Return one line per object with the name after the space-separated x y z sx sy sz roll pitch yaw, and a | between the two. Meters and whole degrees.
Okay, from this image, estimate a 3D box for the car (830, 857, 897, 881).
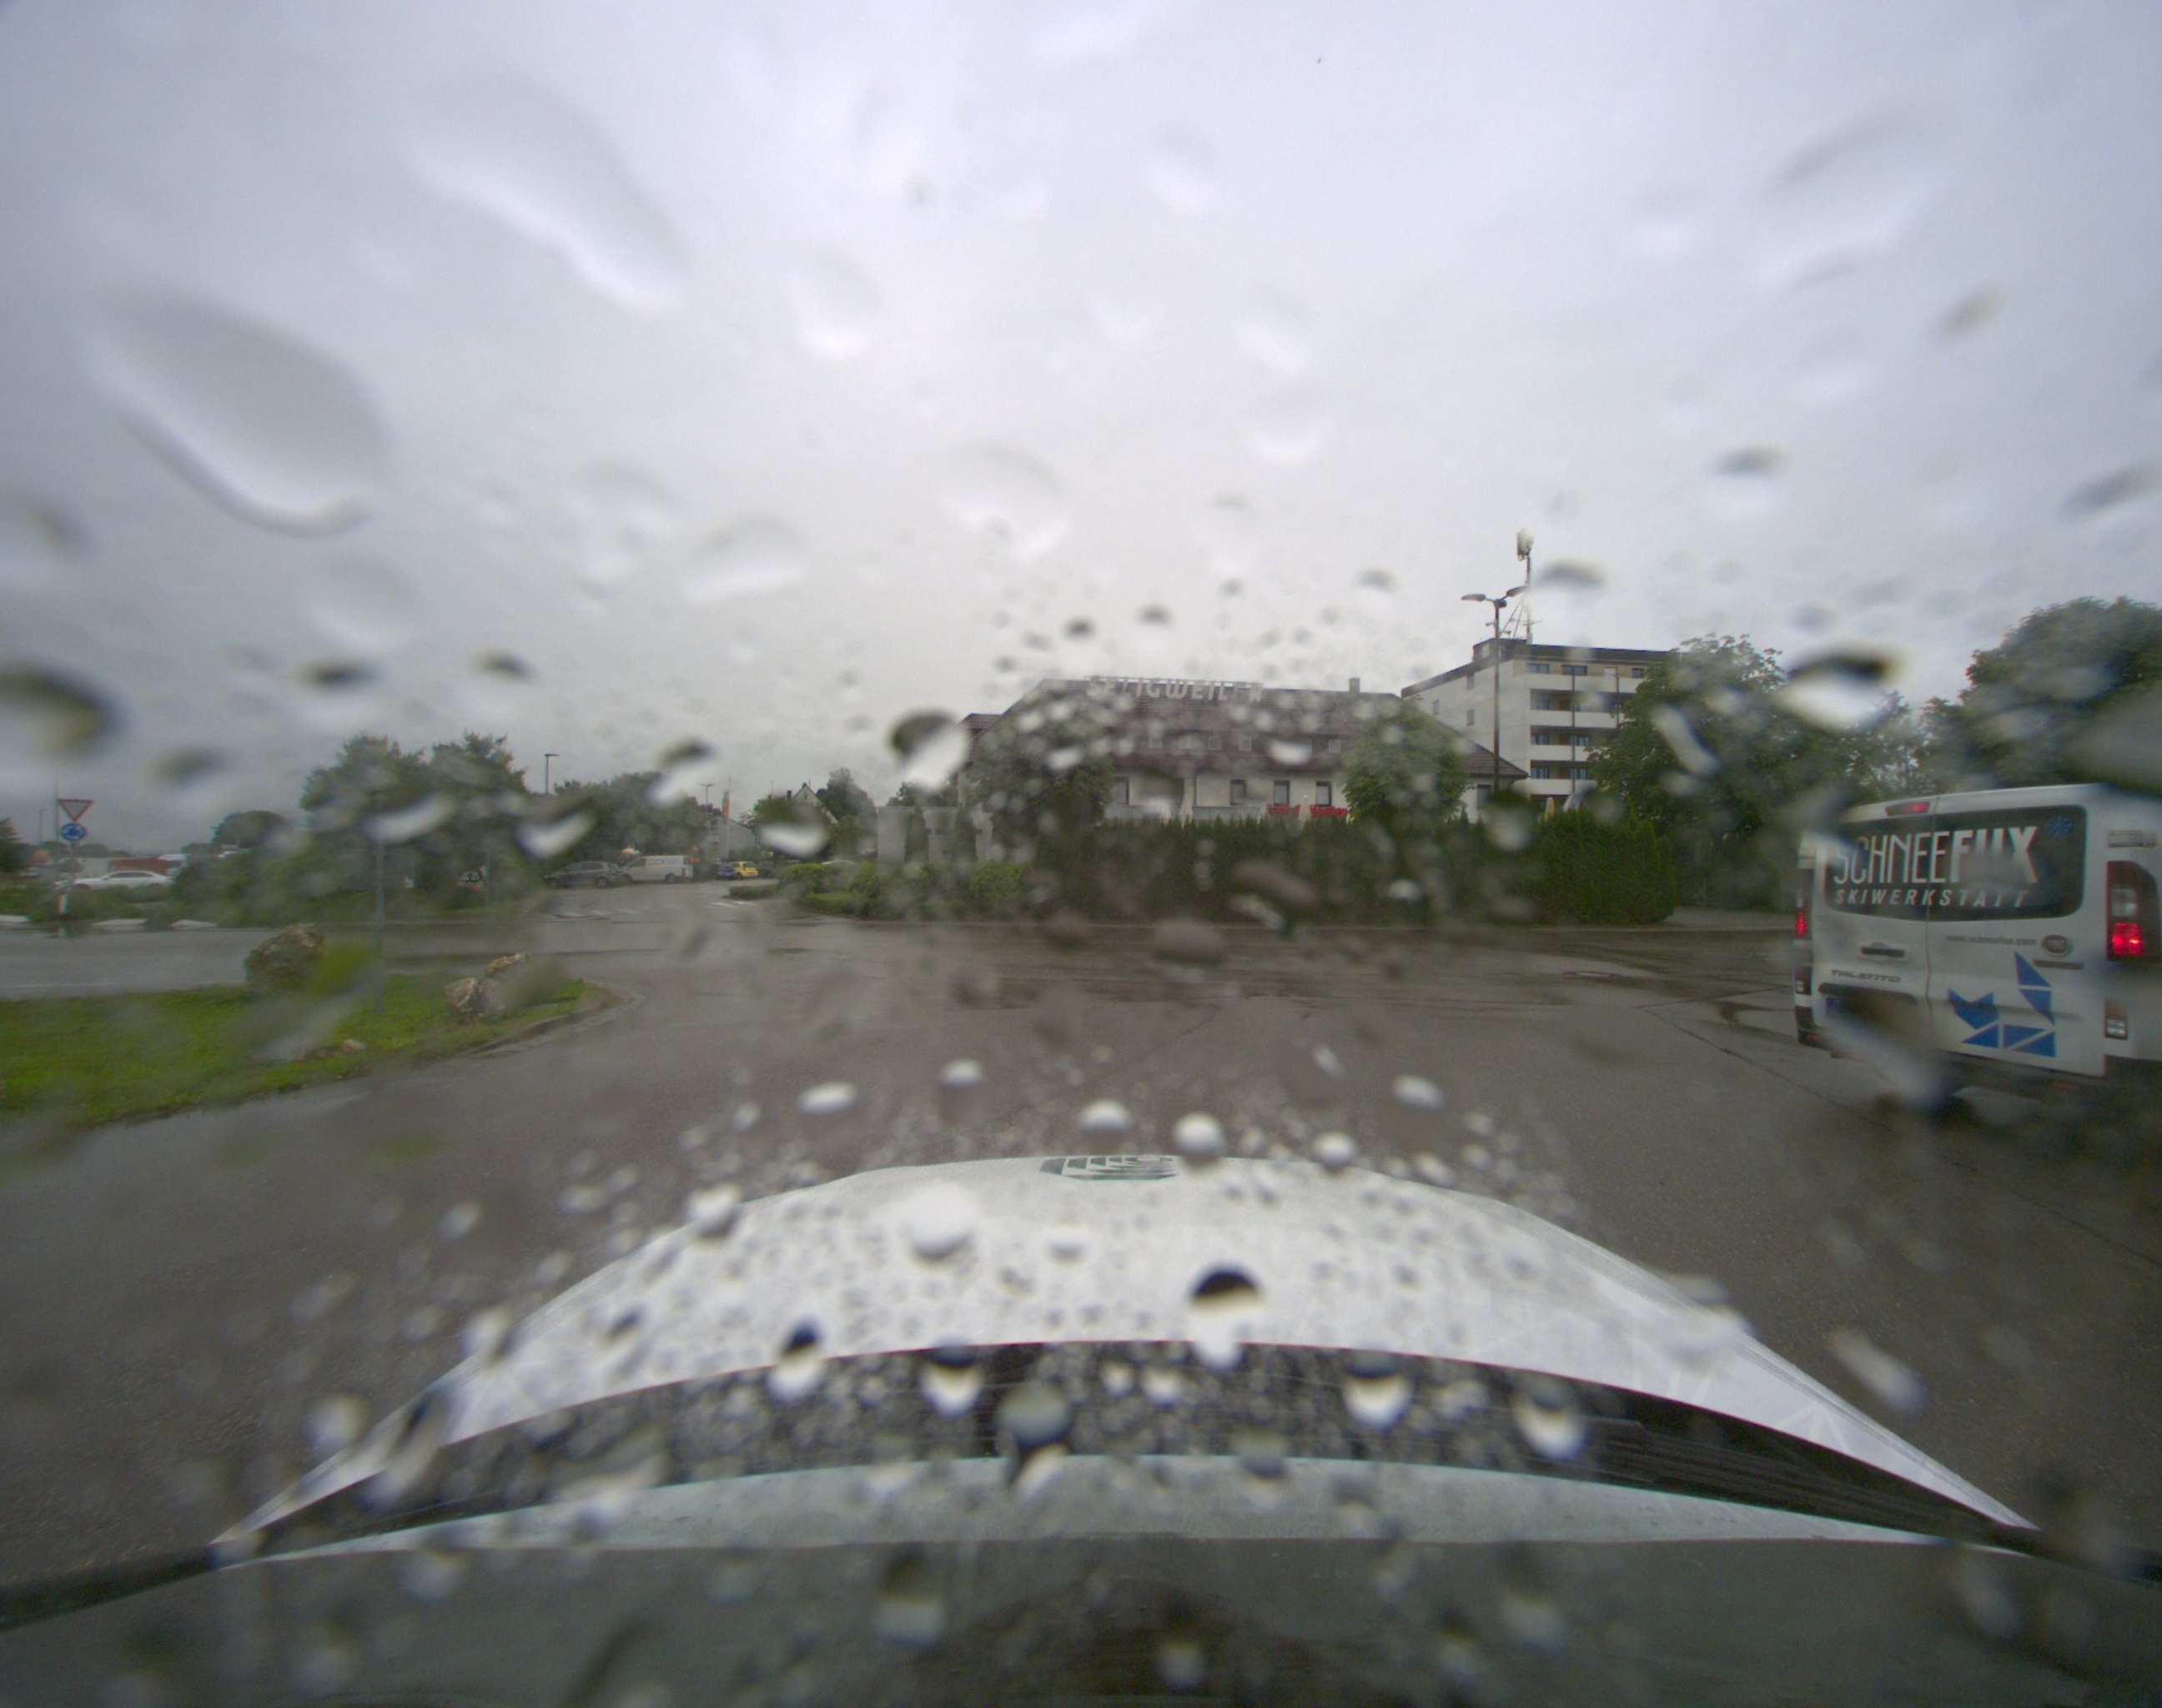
-14.681 0.982 55.136 4.175 1.497 1.712 -1 0 -10 | car

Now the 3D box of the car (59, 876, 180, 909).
-56.602 2.217 48.028 1.726 1.758 4.394 -2 -1 31 | car

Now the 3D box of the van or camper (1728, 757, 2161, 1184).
7.346 0.569 4.978 5.168 1.945 2.192 0 -2 -3 | van or camper

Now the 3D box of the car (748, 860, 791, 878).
-26.426 1.273 69.095 3.632 1.458 1.596 -1 0 35 | car

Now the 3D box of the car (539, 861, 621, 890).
-28.763 1.207 46.827 3.731 1.551 1.446 -1 0 -9 | car

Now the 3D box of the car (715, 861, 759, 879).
-28.328 1.320 67.050 3.632 1.458 1.596 -1 0 35 | car

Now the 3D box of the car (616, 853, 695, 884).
-29.663 1.007 56.892 4.519 2.033 1.640 -1 0 -9 | car

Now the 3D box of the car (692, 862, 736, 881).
-29.078 1.365 64.492 3.632 1.458 1.566 -1 0 35 | car

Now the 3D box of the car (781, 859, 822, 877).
-24.611 1.231 71.694 3.632 1.458 1.596 -1 0 35 | car
